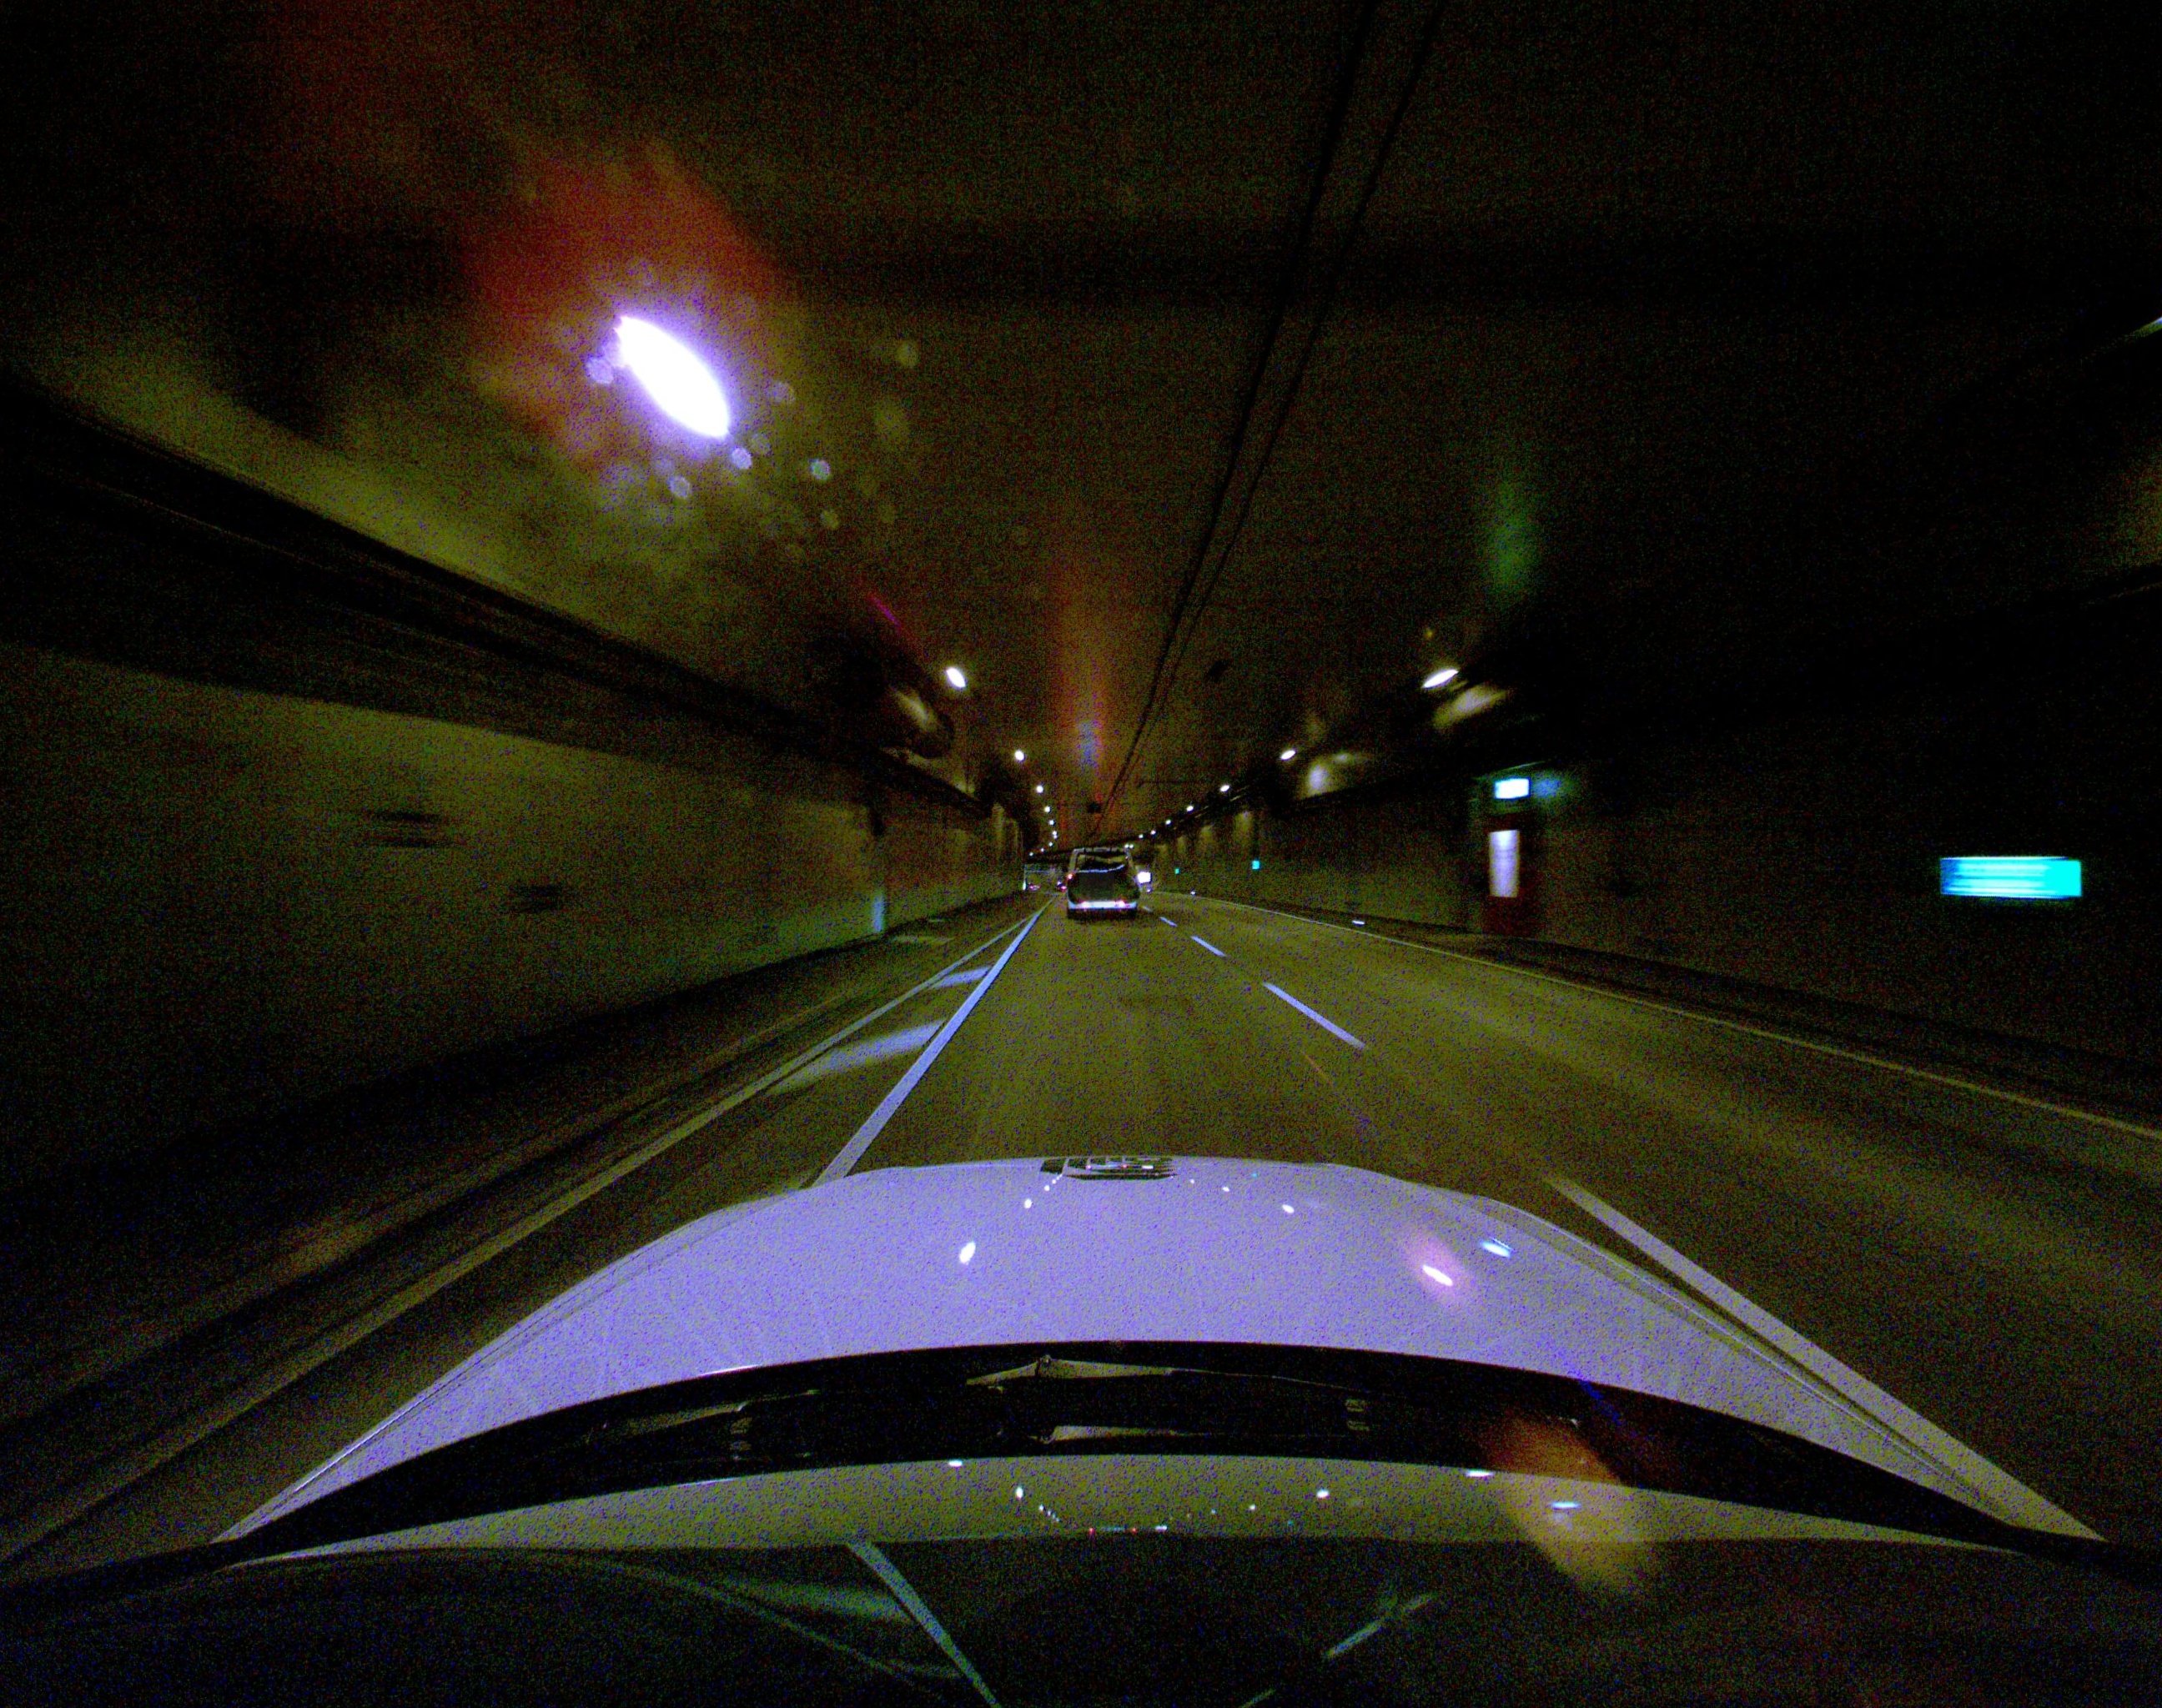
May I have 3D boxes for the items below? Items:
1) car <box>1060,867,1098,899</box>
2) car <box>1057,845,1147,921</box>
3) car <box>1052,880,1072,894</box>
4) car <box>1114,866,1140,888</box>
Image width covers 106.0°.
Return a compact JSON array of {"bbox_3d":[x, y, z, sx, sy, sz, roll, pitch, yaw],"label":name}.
[{"bbox_3d":[-0.142,1.311,37.600,1.599,1.395,3.273,0,-2,-3],"label":"car"},{"bbox_3d":[0.442,0.737,22.529,1.989,1.847,5.293,0,-1,-4],"label":"car"},{"bbox_3d":[-2.463,4.196,104.015,1.824,1.630,3.825,3,-3,-13],"label":"car"},{"bbox_3d":[3.423,1.748,61.129,1.599,1.630,3.351,-1,-2,-3],"label":"car"}]
